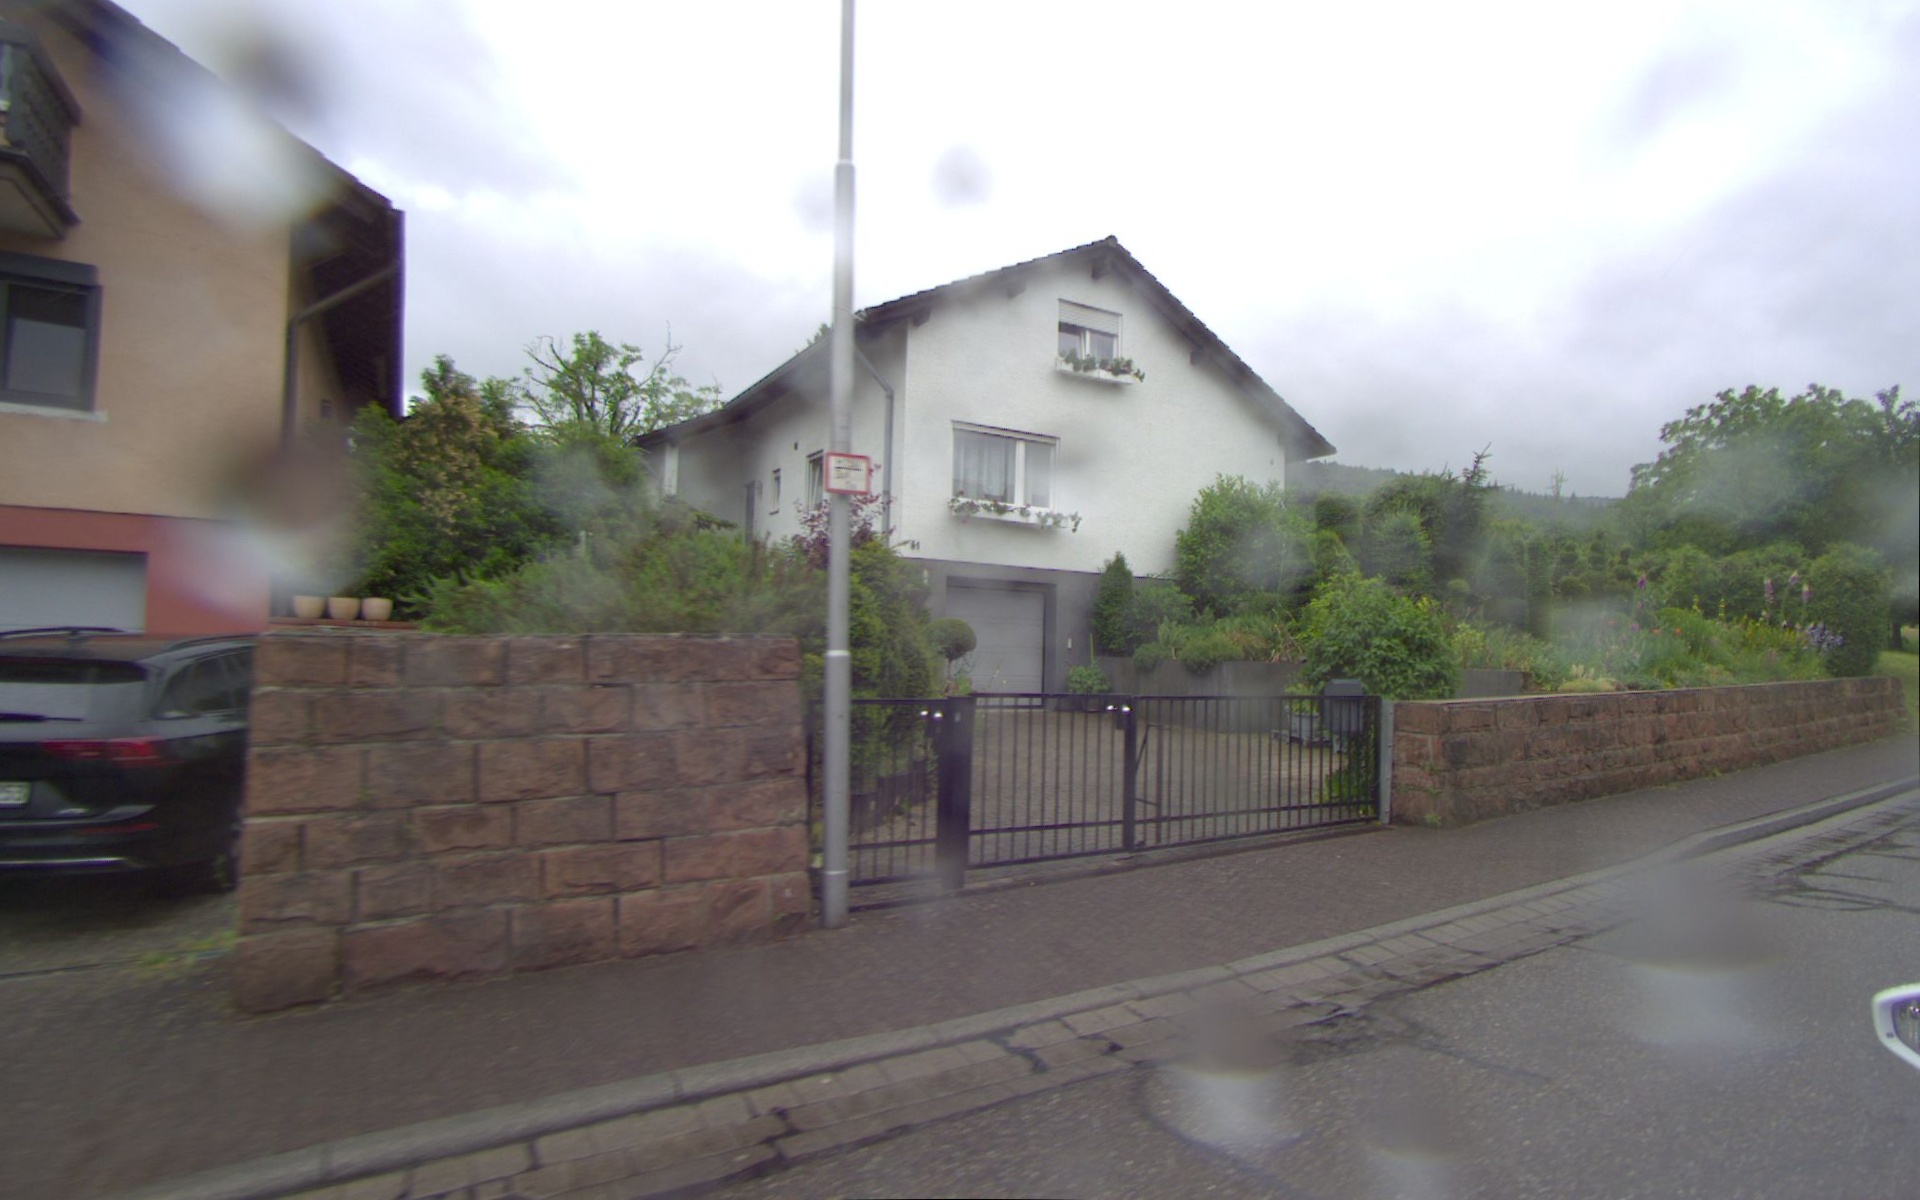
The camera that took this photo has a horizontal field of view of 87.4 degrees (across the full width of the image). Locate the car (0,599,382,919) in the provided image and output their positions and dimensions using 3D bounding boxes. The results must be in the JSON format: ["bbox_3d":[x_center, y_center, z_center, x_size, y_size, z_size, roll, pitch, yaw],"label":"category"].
[{"bbox_3d":[-5.419,0.803,6.570,1.968,1.513,3.985,2,-2,-18],"label":"car"}]
